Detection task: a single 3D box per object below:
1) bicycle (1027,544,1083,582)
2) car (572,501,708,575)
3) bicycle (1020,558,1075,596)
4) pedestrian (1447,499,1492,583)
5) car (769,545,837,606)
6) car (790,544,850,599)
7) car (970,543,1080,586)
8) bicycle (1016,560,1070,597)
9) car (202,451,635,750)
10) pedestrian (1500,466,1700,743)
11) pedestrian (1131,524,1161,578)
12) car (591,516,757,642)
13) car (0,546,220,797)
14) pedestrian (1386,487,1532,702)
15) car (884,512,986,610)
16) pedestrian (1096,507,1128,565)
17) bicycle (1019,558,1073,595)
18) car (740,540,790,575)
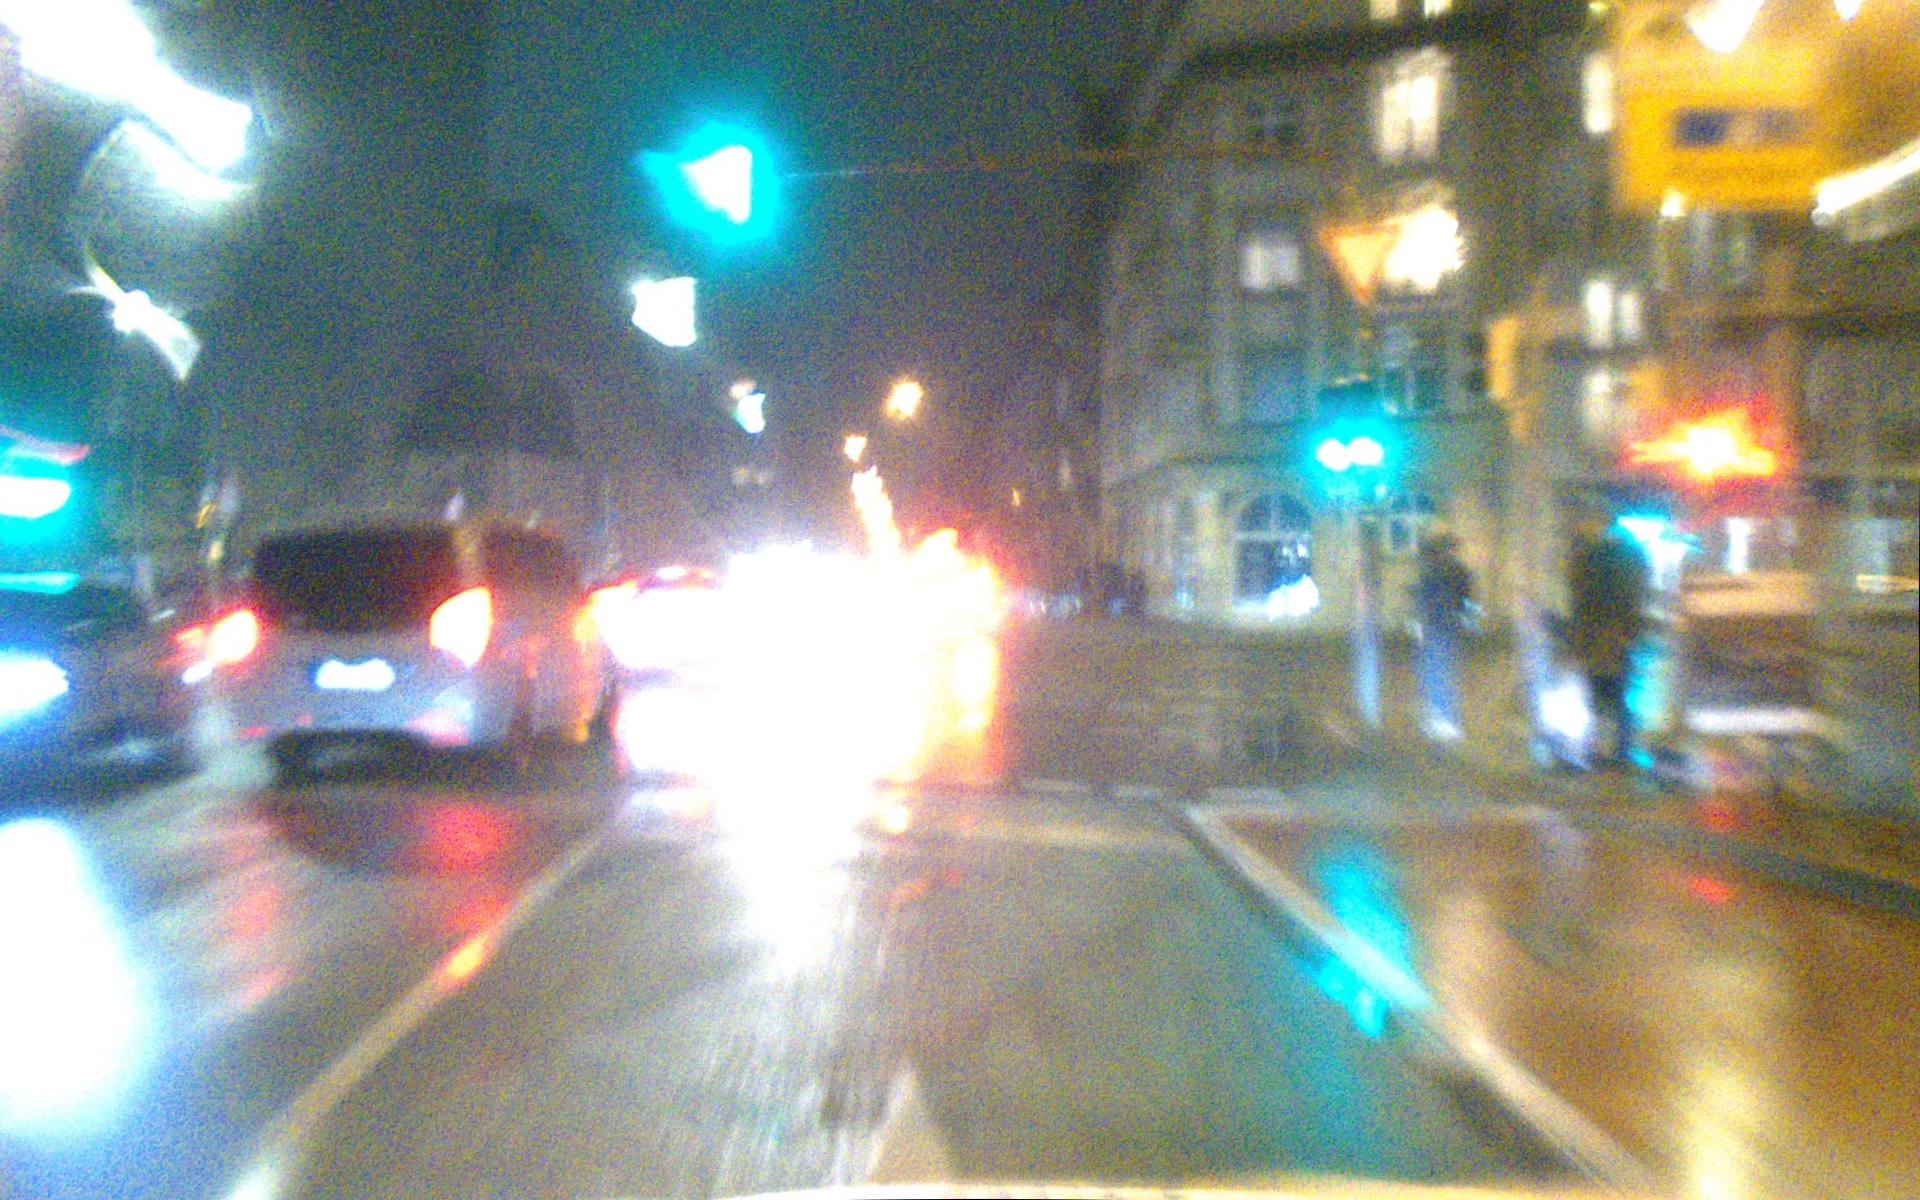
[{"bbox_3d":[3.353,-1.318,58.590,1.861,1.273,0.709,-3,1,-7],"label":"bicycle"},{"bbox_3d":[-8.276,-1.616,43.193,1.851,1.811,4.338,0,2,13],"label":"car"},{"bbox_3d":[3.160,-0.832,59.572,1.861,1.273,0.595,-3,1,-8],"label":"bicycle"},{"bbox_3d":[12.750,-1.477,41.369,0.954,2.047,1.016,0,5,23],"label":"pedestrian"},{"bbox_3d":[-4.243,-0.695,45.071,1.673,1.569,3.987,0,2,-3],"label":"car"},{"bbox_3d":[-4.252,-0.897,50.689,1.635,1.589,4.006,0,2,-2],"label":"car"},{"bbox_3d":[2.563,-1.404,64.533,4.149,1.482,1.830,-4,3,-41],"label":"car"},{"bbox_3d":[3.062,-0.802,60.871,1.861,1.273,0.595,-3,1,-8],"label":"bicycle"},{"bbox_3d":[-4.256,-0.122,14.074,1.993,1.987,5.200,-2,3,-1],"label":"car"},{"bbox_3d":[4.443,0.014,11.552,1.084,1.857,0.851,-1,2,2],"label":"pedestrian"},{"bbox_3d":[5.791,-1.520,51.486,0.765,1.646,1.000,-1,2,-2],"label":"pedestrian"},{"bbox_3d":[-3.878,-0.334,23.131,1.782,1.569,4.723,0,2,-4],"label":"car"},{"bbox_3d":[-6.949,0.448,11.786,1.613,1.537,4.107,-3,3,-3],"label":"car"},{"bbox_3d":[4.424,-0.063,14.737,1.084,1.857,0.852,0,2,4],"label":"pedestrian"},{"bbox_3d":[-0.614,-0.883,36.827,2.125,2.006,4.300,-1,2,-3],"label":"car"},{"bbox_3d":[5.118,-2.163,55.757,0.938,1.914,1.000,-1,2,-2],"label":"pedestrian"},{"bbox_3d":[3.136,-0.849,60.241,1.861,1.273,0.595,-3,1,-8],"label":"bicycle"},{"bbox_3d":[-11.308,-2.474,95.603,1.962,2.006,4.277,-1,2,-20],"label":"car"}]
